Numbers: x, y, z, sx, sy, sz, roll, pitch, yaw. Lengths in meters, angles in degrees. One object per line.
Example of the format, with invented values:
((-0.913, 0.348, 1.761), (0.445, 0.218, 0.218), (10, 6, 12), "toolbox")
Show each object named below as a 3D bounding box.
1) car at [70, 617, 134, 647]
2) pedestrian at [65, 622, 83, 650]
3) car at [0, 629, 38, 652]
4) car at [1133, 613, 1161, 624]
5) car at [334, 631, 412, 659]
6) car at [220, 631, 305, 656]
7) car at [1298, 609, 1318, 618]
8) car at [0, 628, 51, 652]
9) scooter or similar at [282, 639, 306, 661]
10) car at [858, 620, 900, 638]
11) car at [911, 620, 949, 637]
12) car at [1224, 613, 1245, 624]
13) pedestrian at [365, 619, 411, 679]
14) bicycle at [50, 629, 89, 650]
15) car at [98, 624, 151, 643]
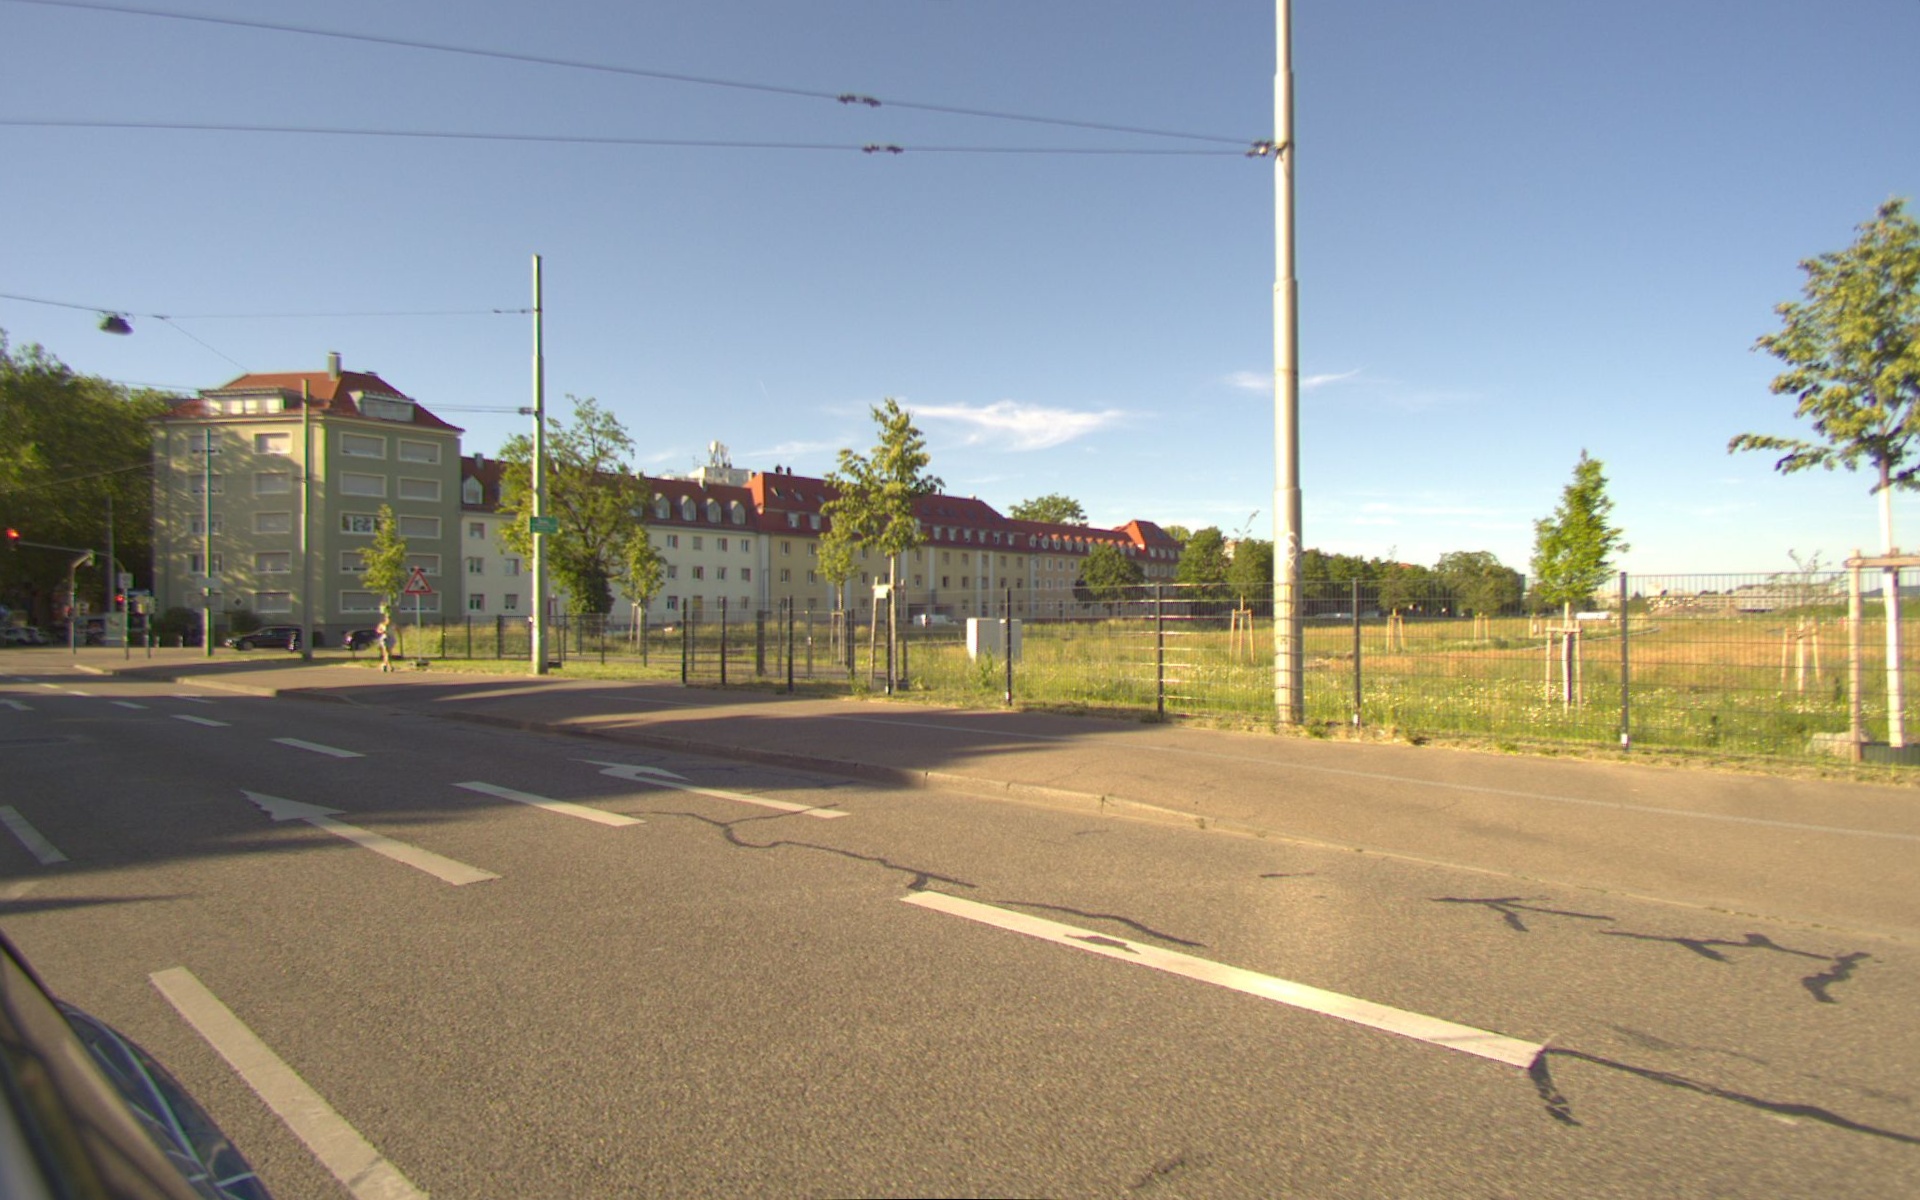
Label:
((-83.327, 3.102, 98.315), (4.345, 2.646, 1.976), (-2, 1, -27), "car")
((-65.840, 2.651, 75.214), (0.685, 1.978, 0.930), (-1, 1, -19), "pedestrian")
((-72.074, 3.074, 75.796), (4.078, 1.652, 1.780), (-2, 1, -27), "car")
((26.571, 2.608, 143.557), (1.942, 1.505, 4.149), (-4, -3, 42), "car")
((-36.410, 2.767, 62.839), (1.698, 1.542, 3.852), (-6, -5, 38), "car")
((-44.509, 2.778, 64.623), (1.942, 1.505, 4.149), (-4, -3, 42), "car")
((64.081, 2.503, 186.245), (1.942, 1.505, 4.149), (-4, -3, 42), "car")
((-72.833, 3.093, 77.751), (4.078, 1.652, 1.780), (-2, 1, -27), "car")
((-36.512, 2.747, 55.477), (0.586, 1.153, 1.269), (0, -6, -8), "scooter or similar")
((-7.674, 2.733, 96.006), (1.698, 1.542, 3.852), (-6, -5, 38), "car")
((-2.948, 2.814, 101.307), (1.698, 1.542, 3.852), (-6, -5, 38), "car")
((42.337, 2.859, 155.967), (1.698, 1.542, 3.852), (-6, -5, 38), "car")
((-16.269, 1.383, 28.783), (1.181, 1.641, 0.823), (-2, 0, 44), "pedestrian")
((-65.188, 2.916, 74.079), (2.017, 1.473, 0.728), (1, 0, -20), "bicycle")
((-87.763, 3.509, 106.336), (3.932, 1.851, 1.822), (-2, 1, -27), "car")
